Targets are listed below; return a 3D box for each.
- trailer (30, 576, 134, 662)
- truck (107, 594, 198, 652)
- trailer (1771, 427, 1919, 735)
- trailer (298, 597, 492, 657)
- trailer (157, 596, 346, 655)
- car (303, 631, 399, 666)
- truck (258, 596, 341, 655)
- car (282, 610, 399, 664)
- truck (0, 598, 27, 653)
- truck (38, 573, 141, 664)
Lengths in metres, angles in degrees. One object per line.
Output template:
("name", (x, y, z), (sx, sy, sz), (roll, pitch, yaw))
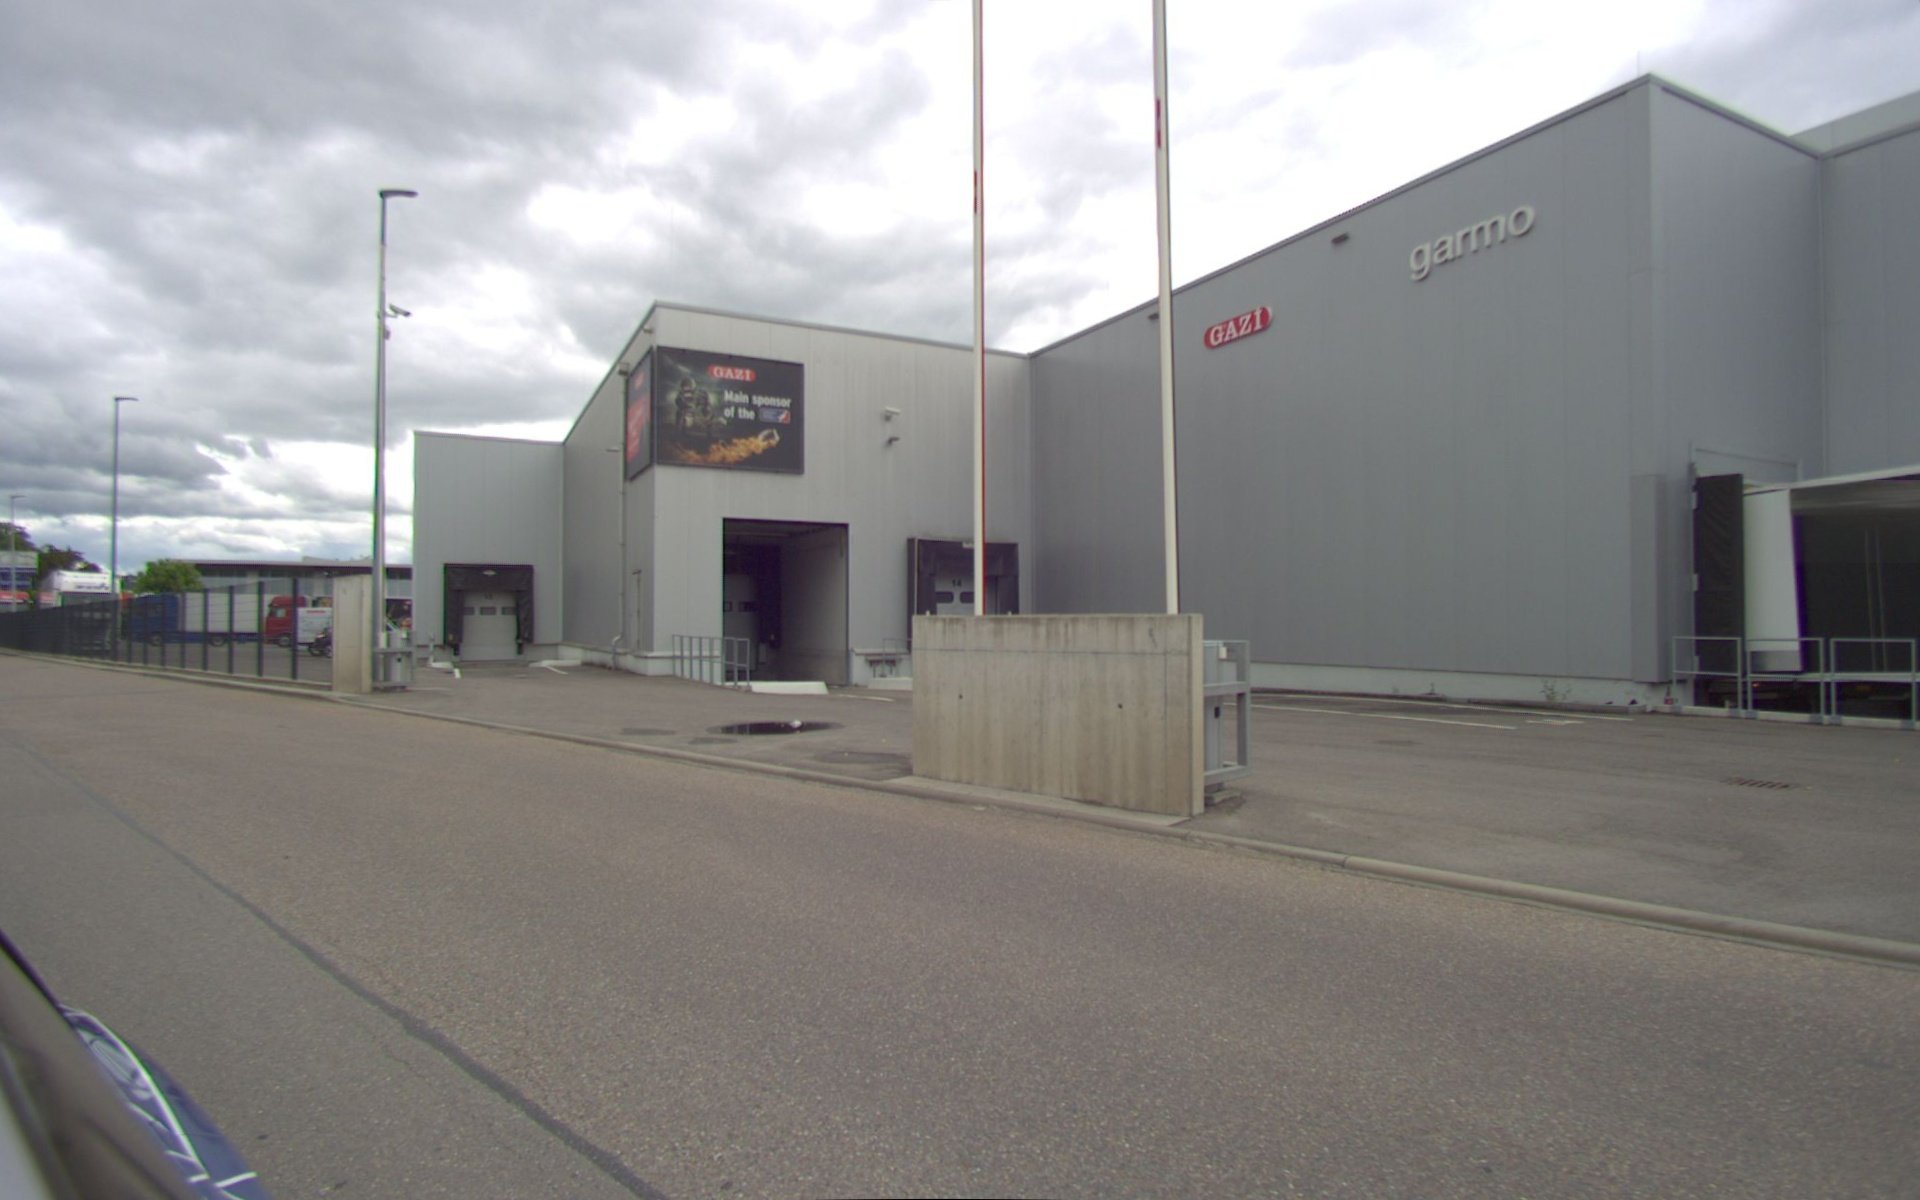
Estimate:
("trailer", (-48.063, 1.161, 55.172), (3.320, 4.192, 13.857), (4, -4, -44))
("truck", (-60.586, 1.799, 75.989), (3.048, 4.164, 4.813), (-2, -4, 42))
("trailer", (16.056, -0.391, 9.818), (2.703, 4.062, 12.657), (0, -2, -28))
("trailer", (-44.151, 2.233, 79.781), (12.962, 4.245, 3.058), (2, -3, -26))
("trailer", (-55.419, 2.110, 79.755), (11.841, 4.164, 3.057), (3, -4, -30))
("car", (-30.737, 2.435, 51.218), (4.010, 1.589, 1.950), (-1, -1, -27))
("truck", (-50.079, 1.987, 76.911), (4.797, 4.237, 3.058), (2, -3, -26))
("car", (-33.678, 1.991, 55.249), (5.341, 2.751, 2.248), (-1, -2, -29))
("truck", (-70.363, 1.888, 73.609), (5.669, 3.879, 2.981), (-2, -4, 42))
("truck", (-43.180, 1.005, 50.154), (3.320, 4.192, 5.631), (4, -4, -44))
